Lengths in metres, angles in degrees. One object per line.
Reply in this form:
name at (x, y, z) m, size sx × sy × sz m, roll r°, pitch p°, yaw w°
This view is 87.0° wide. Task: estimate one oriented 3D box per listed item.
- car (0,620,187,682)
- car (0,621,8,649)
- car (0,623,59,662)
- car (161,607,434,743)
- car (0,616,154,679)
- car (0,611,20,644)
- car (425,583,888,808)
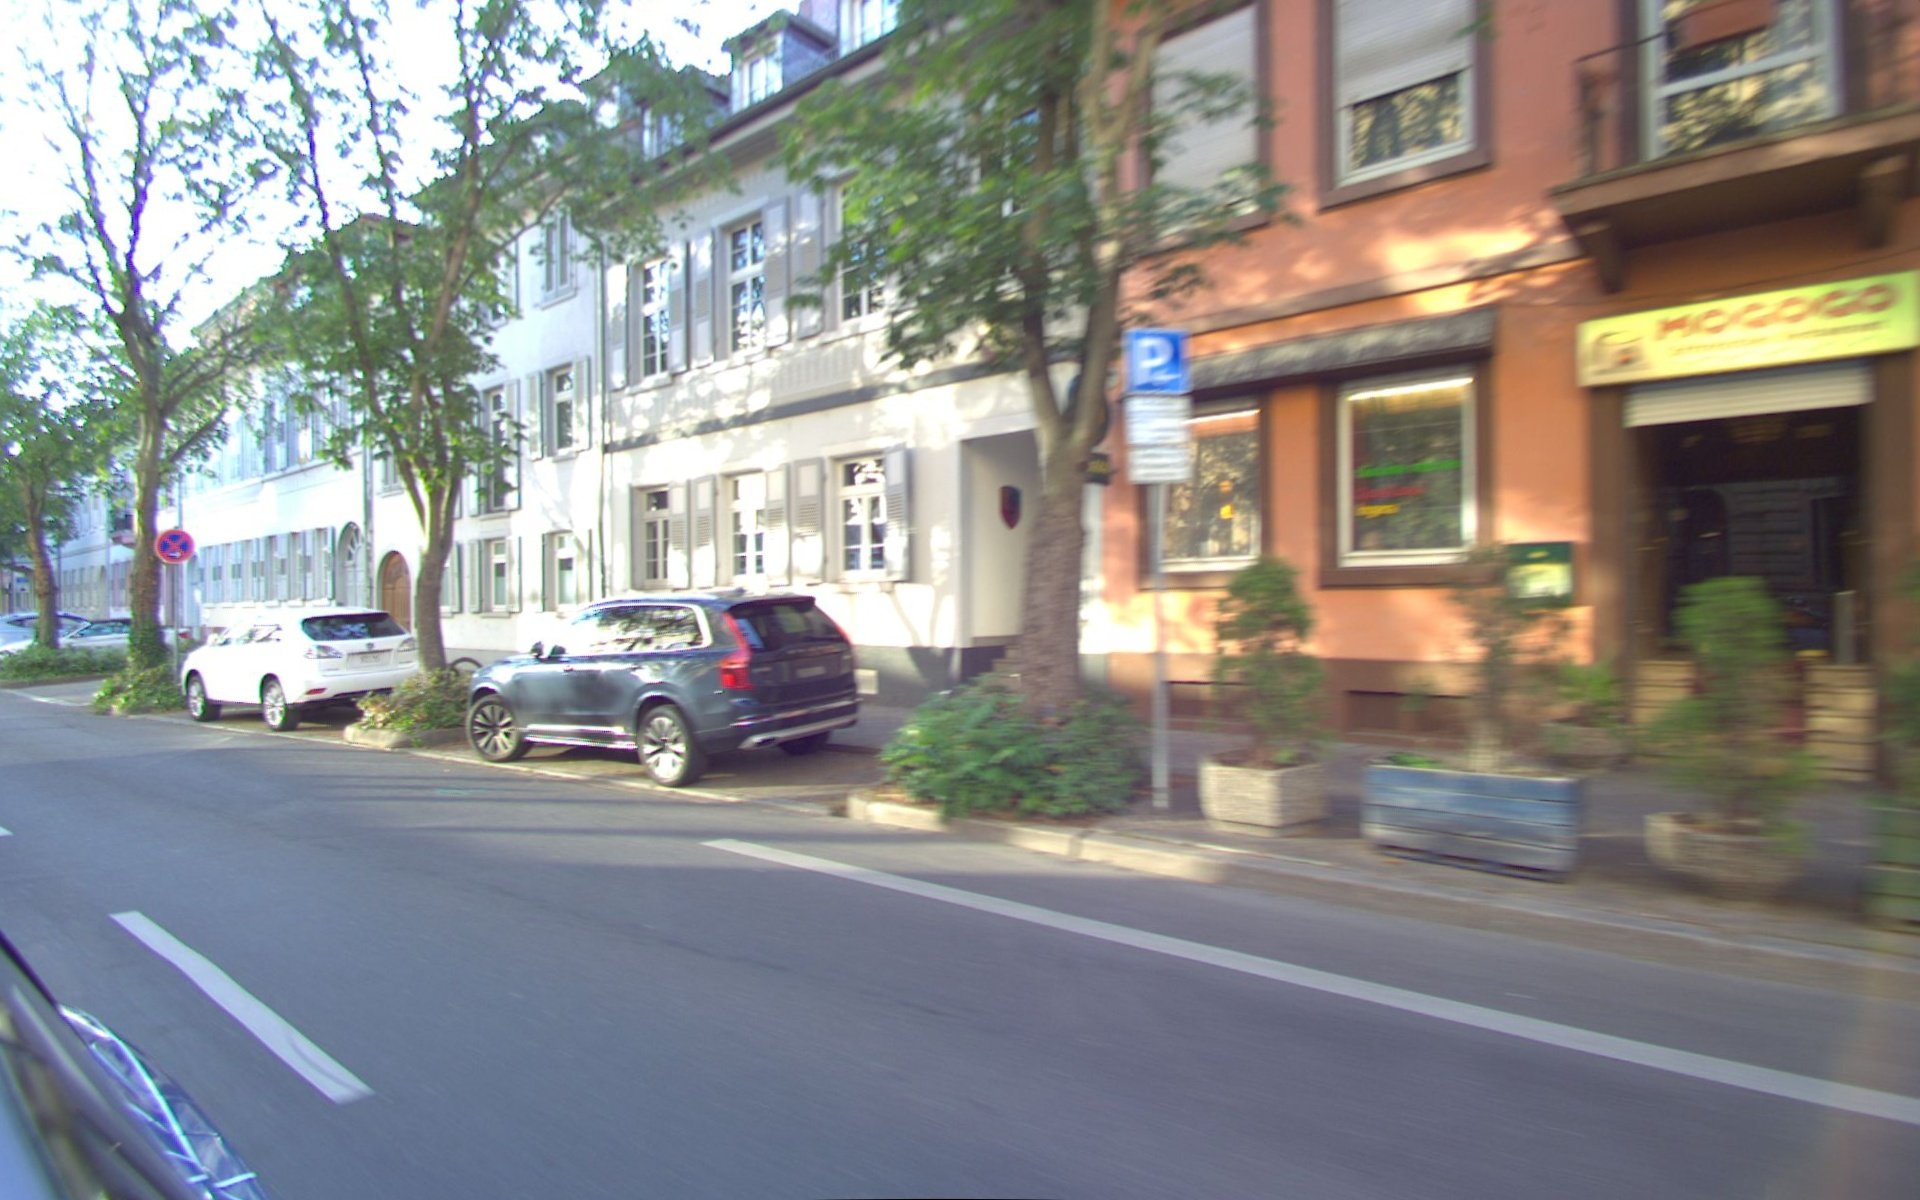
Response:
car at (-24.106, 1.351, 27.959) m, size 1.801 × 1.557 × 4.172 m, roll -1°, pitch -1°, yaw 43°
car at (-54.013, 1.905, 54.199) m, size 1.757 × 1.529 × 4.179 m, roll -1°, pitch -1°, yaw 38°
car at (-39.965, 1.759, 41.575) m, size 1.798 × 1.519 × 4.179 m, roll -1°, pitch -1°, yaw 38°
car at (-10.216, 1.032, 15.500) m, size 4.645 × 1.680 × 1.813 m, roll -1°, pitch 3°, yaw 35°
car at (-26.363, 1.355, 29.524) m, size 1.798 × 1.702 × 4.179 m, roll -1°, pitch -1°, yaw 38°
car at (-50.512, 1.419, 51.127) m, size 1.798 × 1.677 × 4.179 m, roll -1°, pitch -1°, yaw 38°
car at (-3.317, 0.815, 10.559) m, size 5.036 × 1.772 × 1.813 m, roll -1°, pitch 3°, yaw 35°
